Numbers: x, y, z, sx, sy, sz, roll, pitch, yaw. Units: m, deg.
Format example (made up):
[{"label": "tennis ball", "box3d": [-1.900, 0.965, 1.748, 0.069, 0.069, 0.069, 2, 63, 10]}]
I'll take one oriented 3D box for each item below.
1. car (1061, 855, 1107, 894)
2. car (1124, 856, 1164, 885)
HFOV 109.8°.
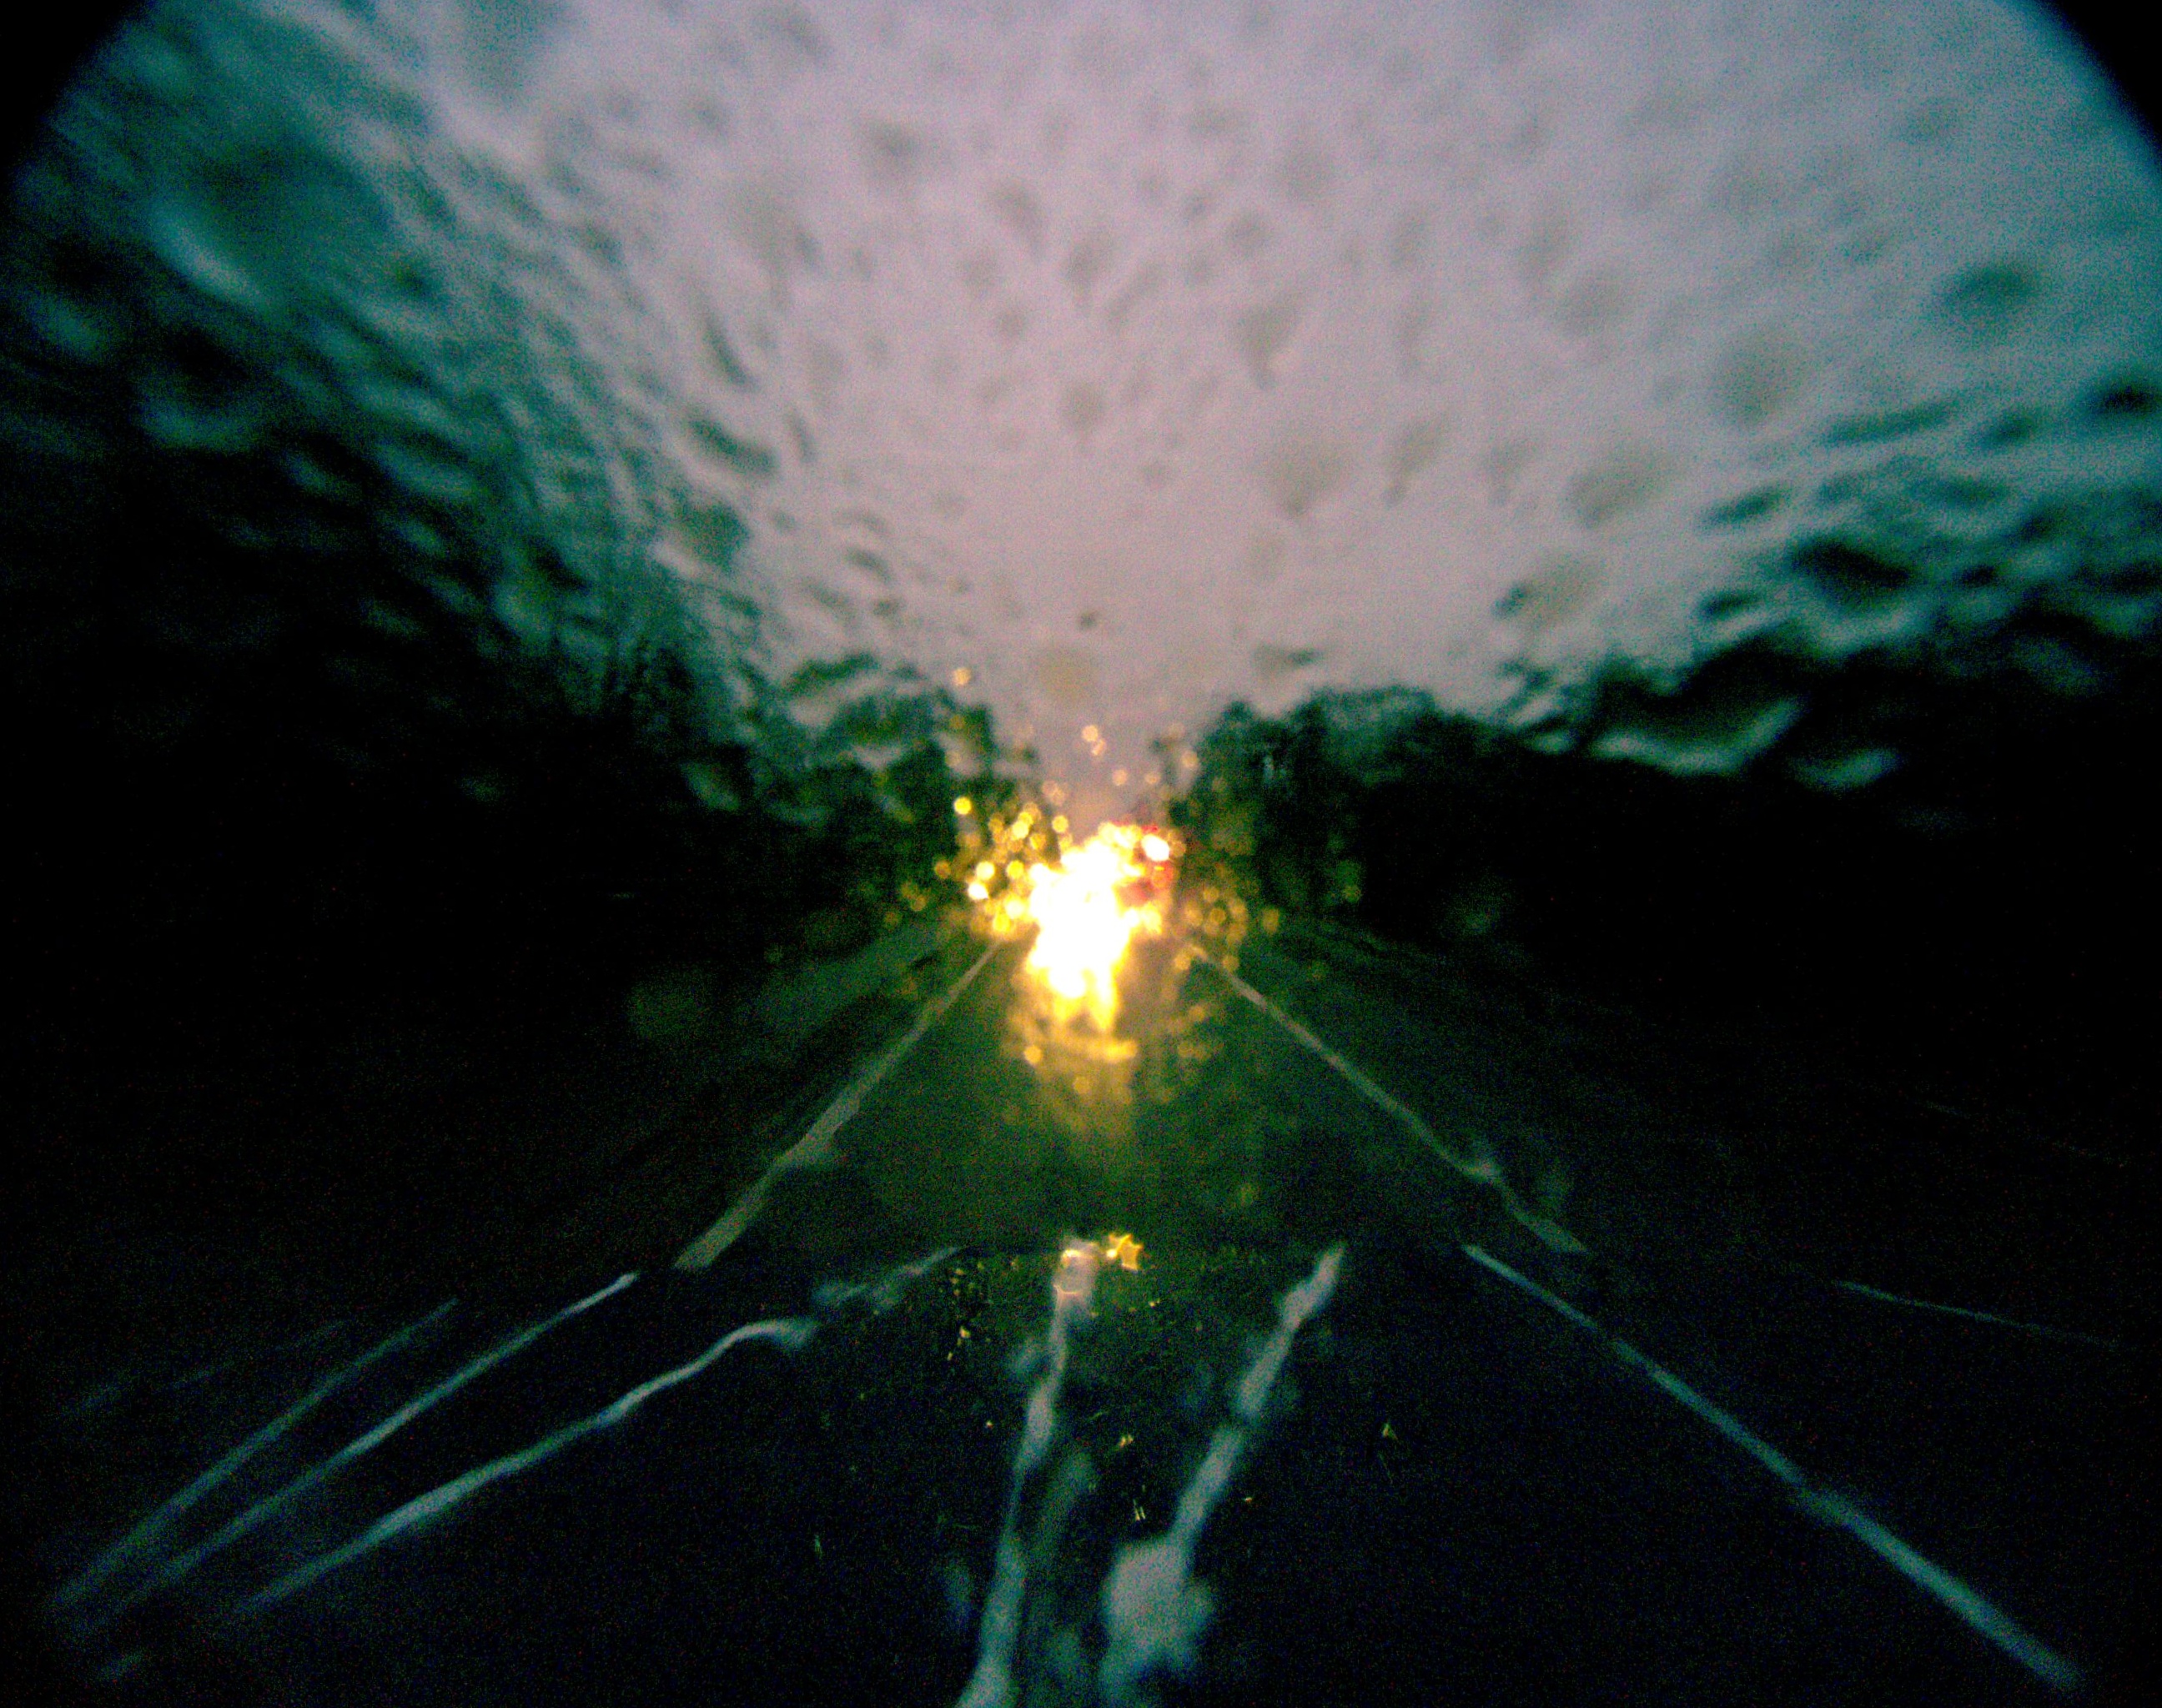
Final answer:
[{"label": "car", "box3d": [0.132, 0.867, 33.912, 1.860, 1.604, 4.000, -2, 0, 0]}, {"label": "car", "box3d": [3.335, 0.837, 40.875, 1.809, 1.478, 4.000, 1, 0, 0]}]
